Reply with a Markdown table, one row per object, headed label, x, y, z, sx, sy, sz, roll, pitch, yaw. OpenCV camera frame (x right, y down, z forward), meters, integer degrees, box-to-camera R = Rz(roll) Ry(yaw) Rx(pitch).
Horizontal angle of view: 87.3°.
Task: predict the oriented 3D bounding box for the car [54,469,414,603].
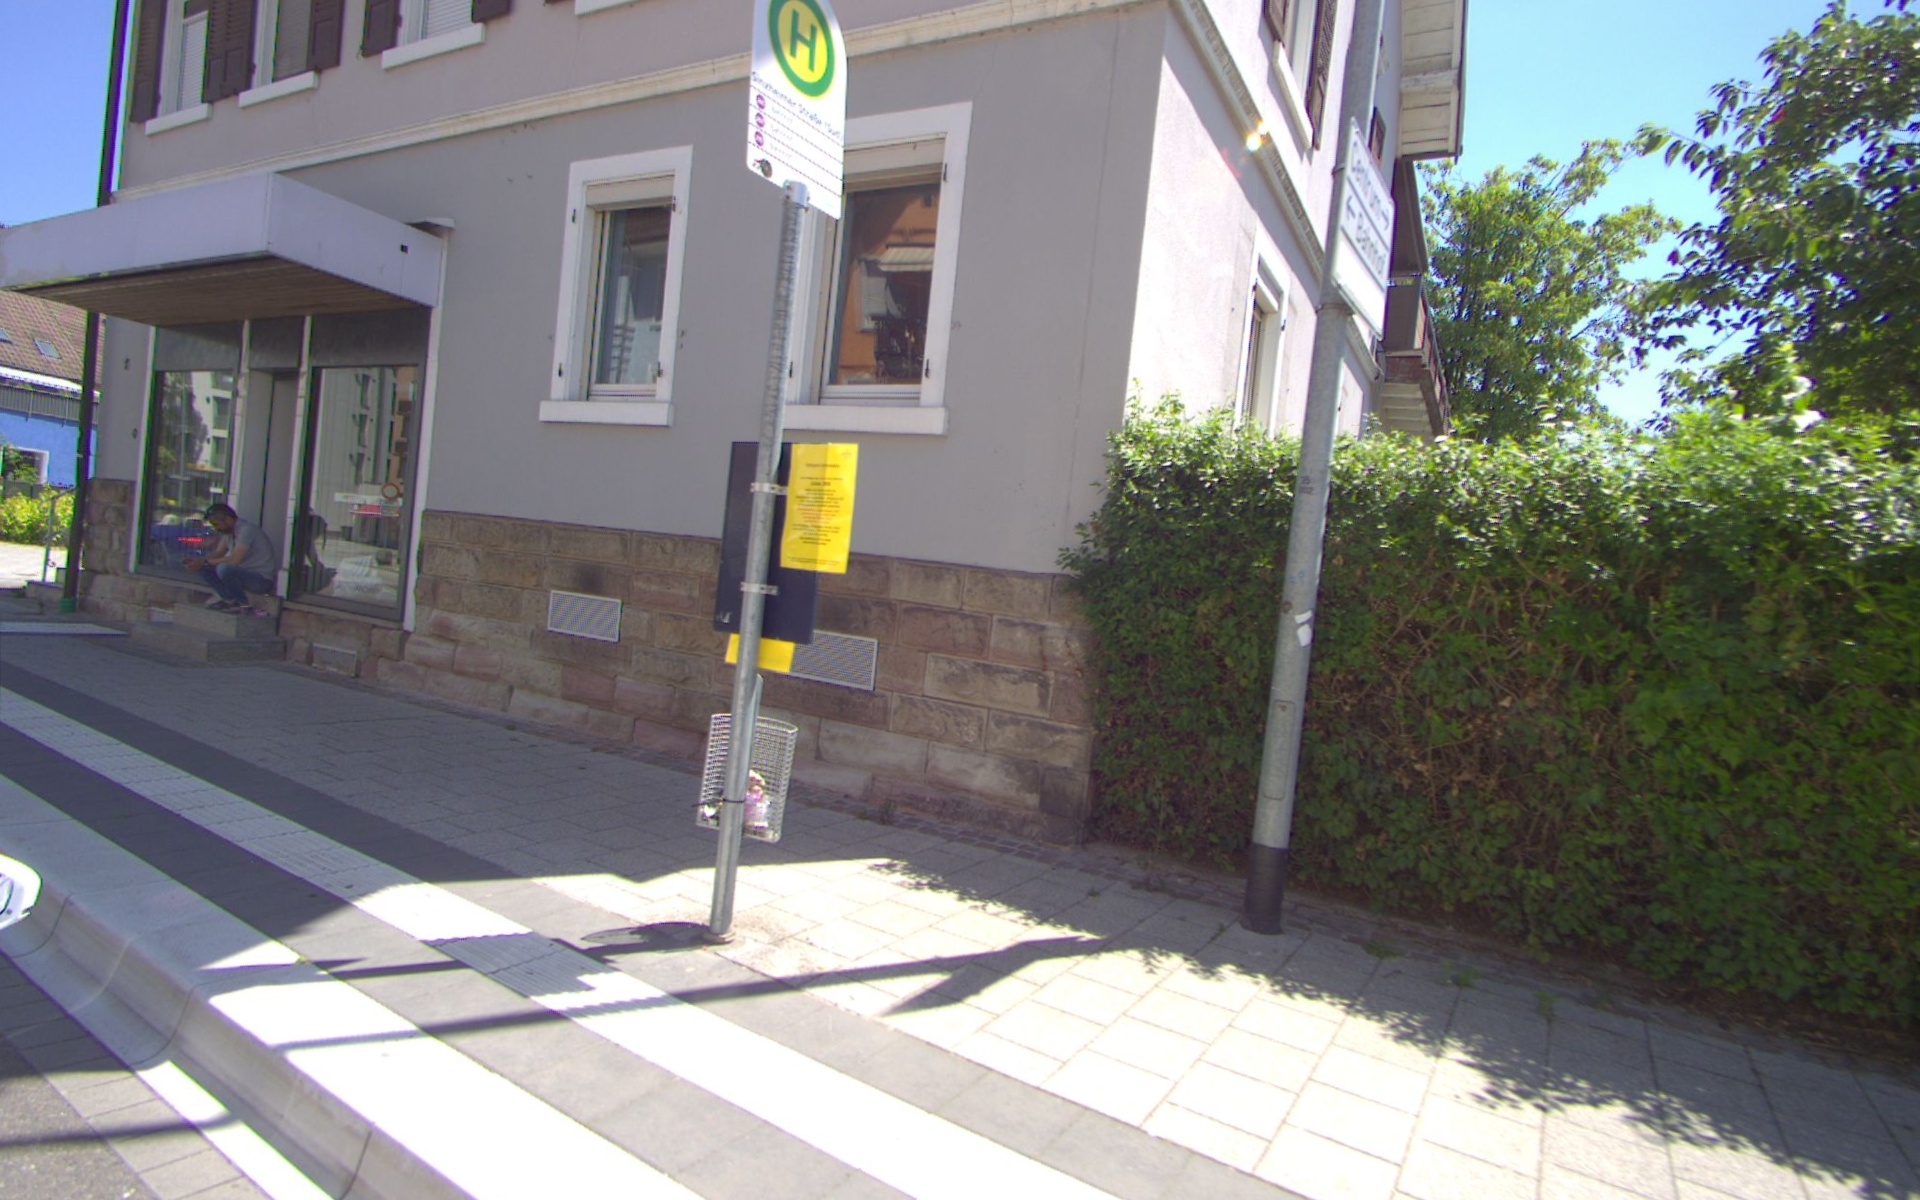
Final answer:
| label | x | y | z | sx | sy | sz | roll | pitch | yaw |
| --- | --- | --- | --- | --- | --- | --- | --- | --- | --- |
| car | -10.907 | -0.892 | 15.412 | 1.772 | 1.616 | 4.062 | 7 | 2 | 31 |

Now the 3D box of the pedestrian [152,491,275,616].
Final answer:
| label | x | y | z | sx | sy | sz | roll | pitch | yaw |
| --- | --- | --- | --- | --- | --- | --- | --- | --- | --- |
| pedestrian | -6.626 | -0.406 | 8.932 | 0.711 | 1.013 | 0.590 | 7 | 3 | 29 |
